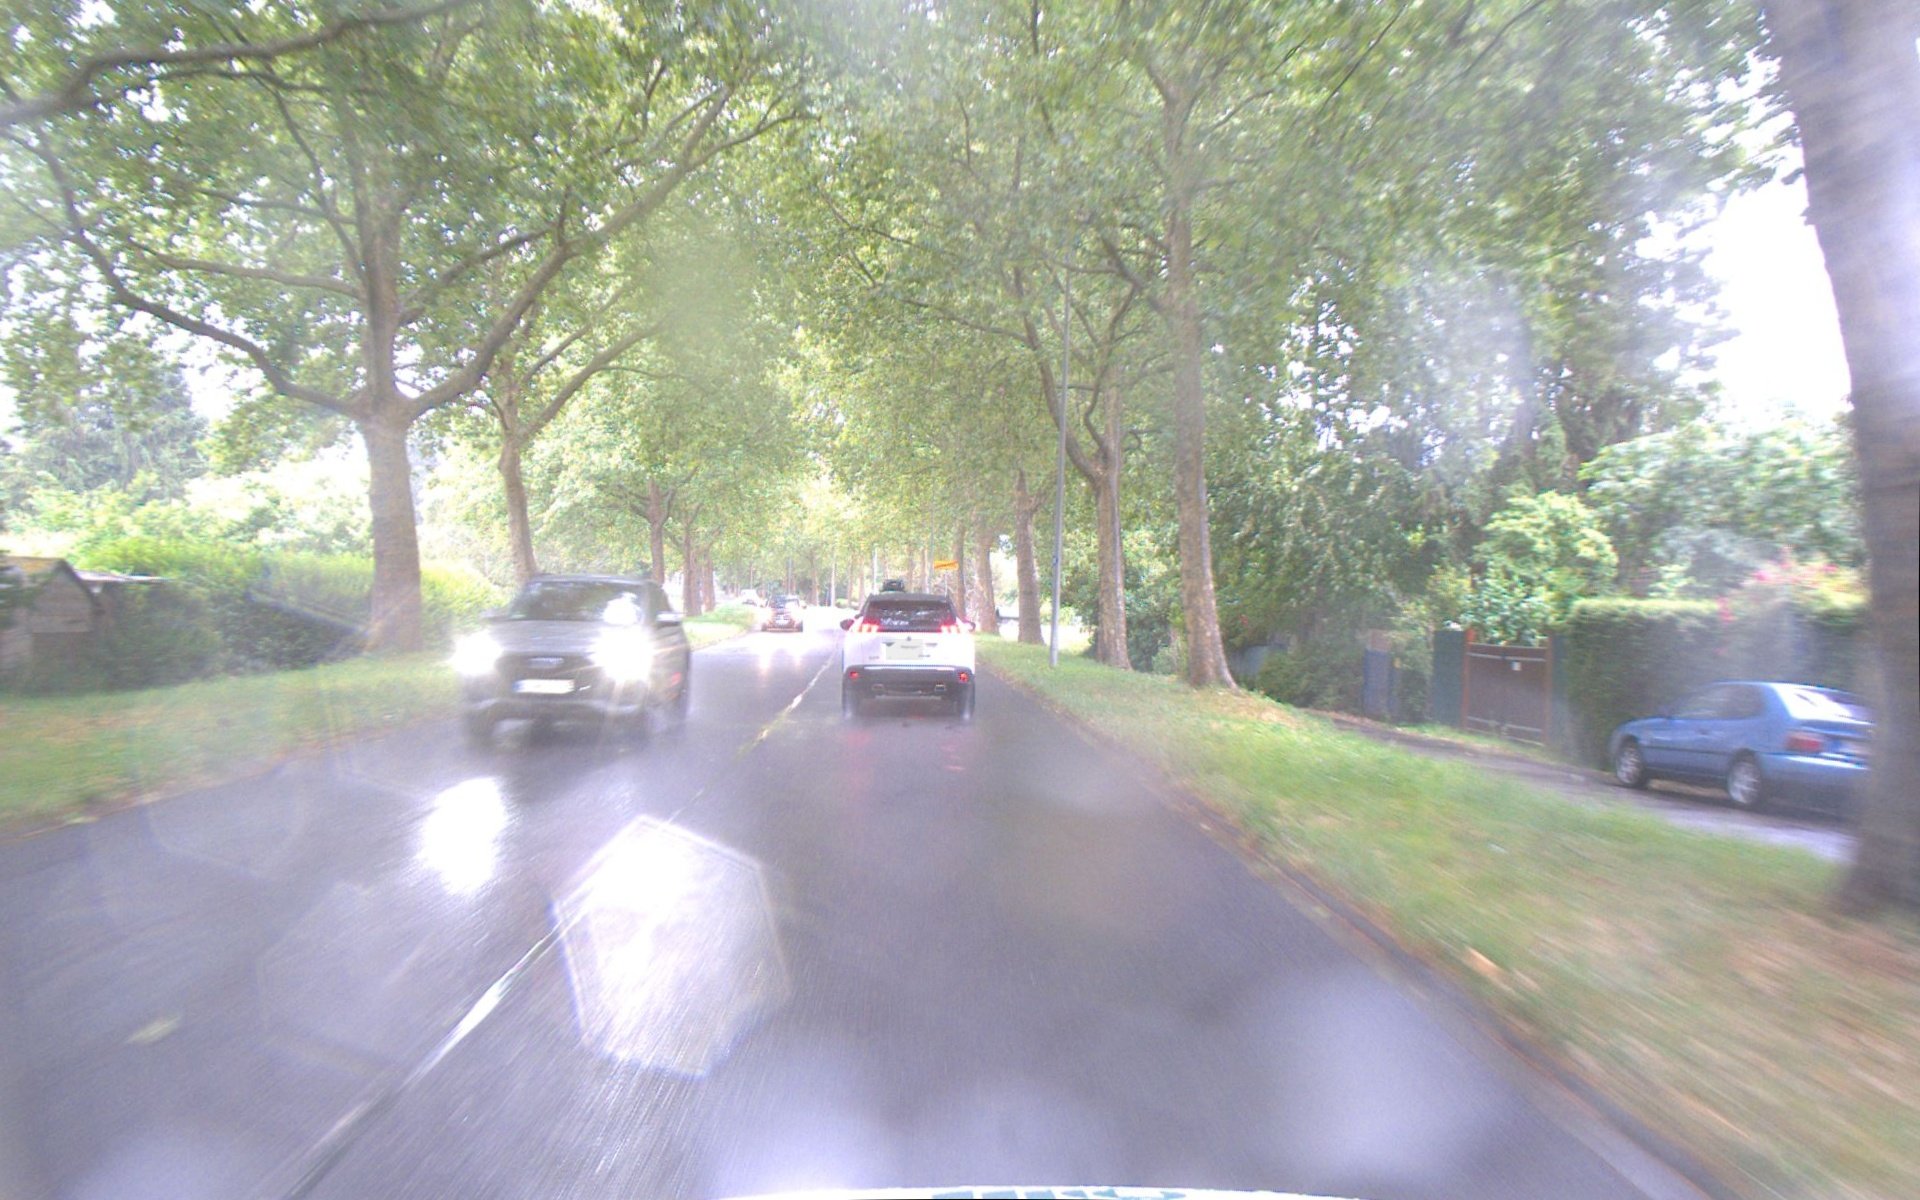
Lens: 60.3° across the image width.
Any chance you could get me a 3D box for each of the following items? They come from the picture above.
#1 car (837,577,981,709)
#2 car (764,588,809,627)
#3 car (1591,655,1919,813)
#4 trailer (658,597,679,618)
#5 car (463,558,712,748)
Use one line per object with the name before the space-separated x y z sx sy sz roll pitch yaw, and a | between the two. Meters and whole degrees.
car | -0.712 0.520 22.619 1.758 1.606 3.842 2 1 -2
car | -7.335 0.305 69.947 1.810 1.528 3.995 2 0 -6
car | 9.130 1.463 19.085 1.762 1.348 3.995 6 -1 -6
trailer | -37.658 0.927 213.757 2.441 2.612 5.317 2 0 -12
car | -3.885 0.495 17.993 1.772 1.758 4.453 2 0 -2
